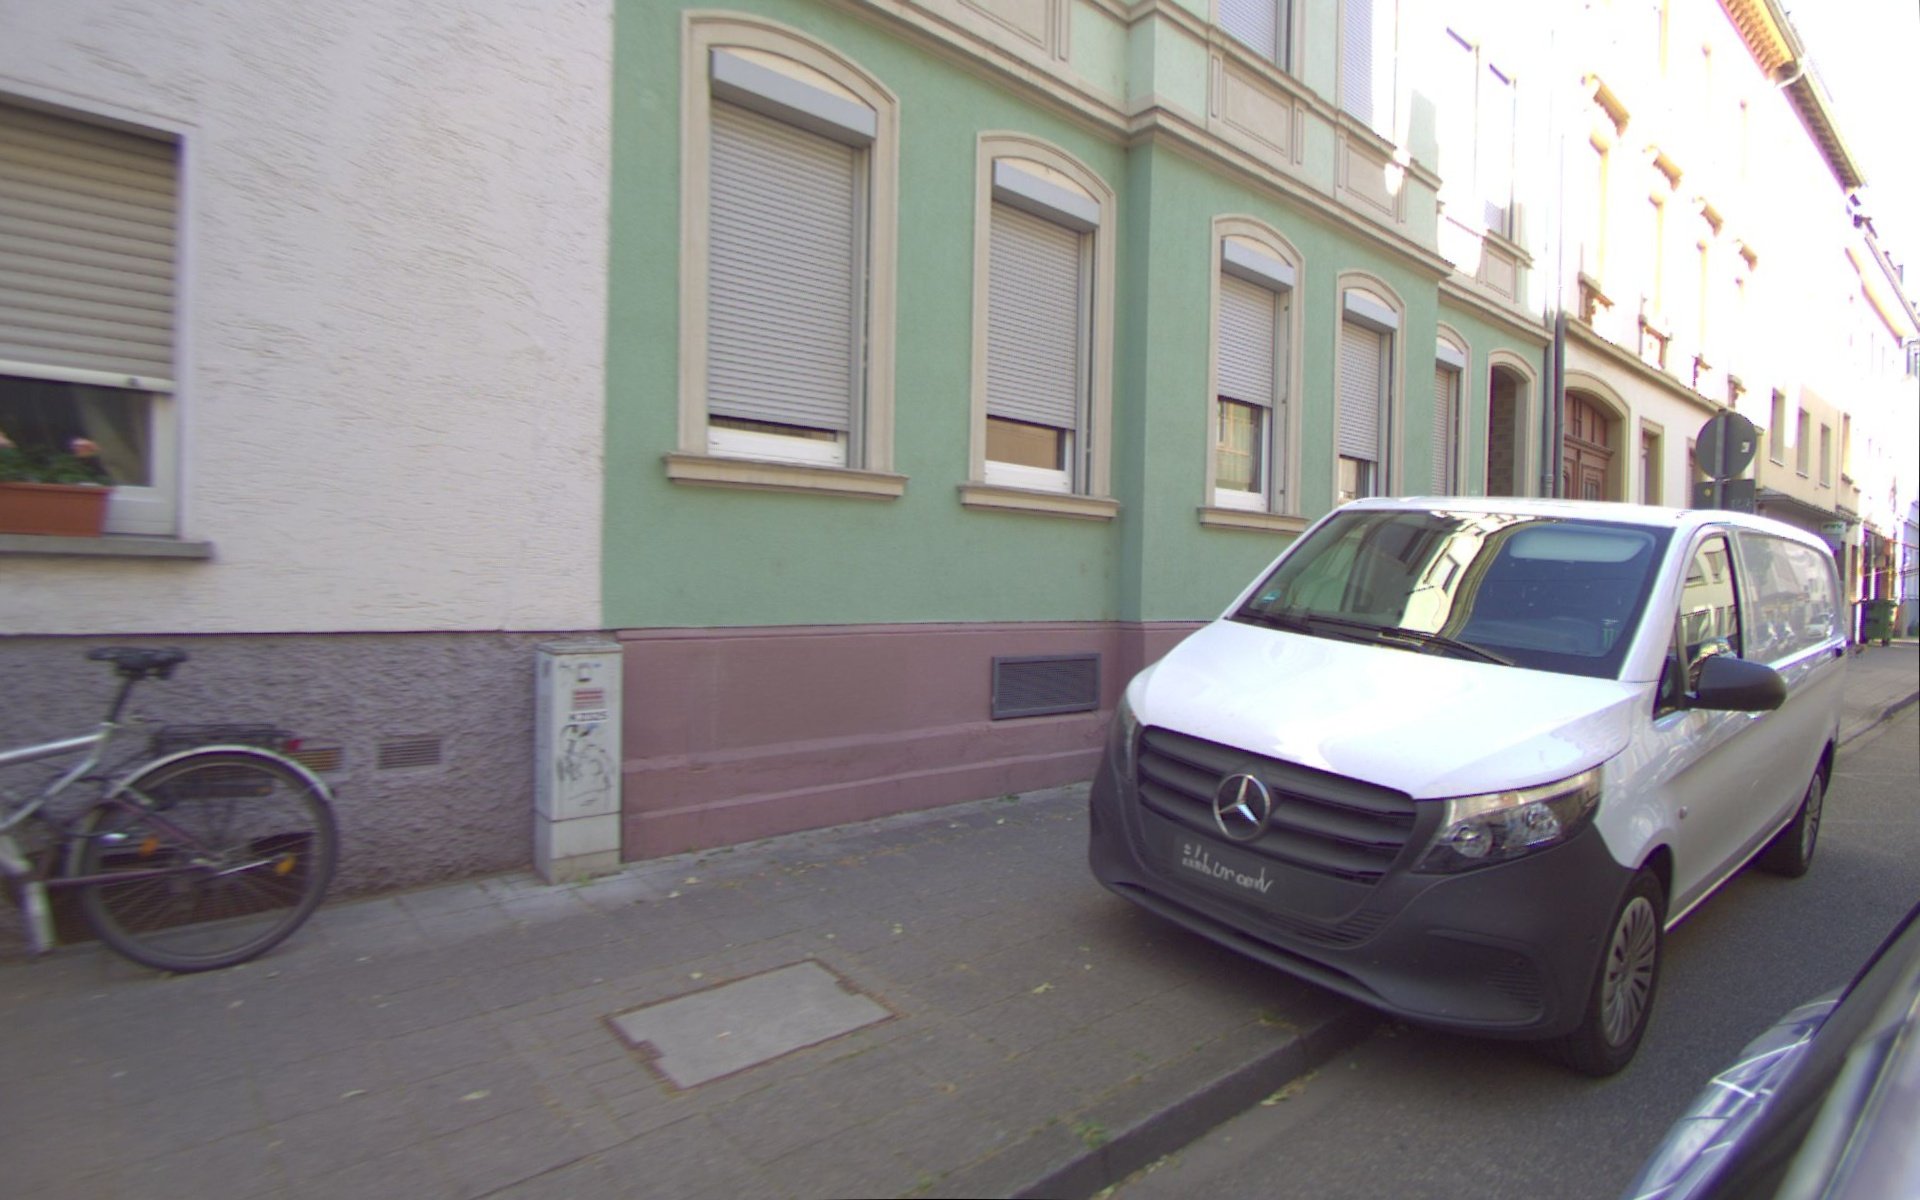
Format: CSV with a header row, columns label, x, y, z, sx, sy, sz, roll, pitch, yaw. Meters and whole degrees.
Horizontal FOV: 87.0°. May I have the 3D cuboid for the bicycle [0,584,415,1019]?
label,x,y,z,sx,sy,sz,roll,pitch,yaw
bicycle,-2.839,0.568,3.001,2.120,1.221,0.406,-1,1,-38

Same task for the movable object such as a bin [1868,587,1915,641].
label,x,y,z,sx,sy,sz,roll,pitch,yaw
movable object such as a bin,26.602,0.380,28.901,1.348,1.454,0.748,0,3,-39

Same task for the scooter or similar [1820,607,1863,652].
label,x,y,z,sx,sy,sz,roll,pitch,yaw
scooter or similar,19.614,0.661,22.524,0.851,0.956,0.492,1,1,-35

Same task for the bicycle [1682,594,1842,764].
label,x,y,z,sx,sy,sz,roll,pitch,yaw
bicycle,7.139,0.636,8.968,2.158,1.337,0.576,0,2,-38

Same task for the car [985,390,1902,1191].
label,x,y,z,sx,sy,sz,roll,pitch,yaw
car,2.843,0.382,4.966,5.503,1.906,1.988,0,5,-42

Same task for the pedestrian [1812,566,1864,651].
label,x,y,z,sx,sy,sz,roll,pitch,yaw
pedestrian,20.204,0.186,23.298,0.644,1.883,0.742,3,2,27

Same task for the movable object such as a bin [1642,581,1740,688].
label,x,y,z,sx,sy,sz,roll,pitch,yaw
movable object such as a bin,10.588,0.458,14.652,1.275,1.406,0.838,-2,5,-42
